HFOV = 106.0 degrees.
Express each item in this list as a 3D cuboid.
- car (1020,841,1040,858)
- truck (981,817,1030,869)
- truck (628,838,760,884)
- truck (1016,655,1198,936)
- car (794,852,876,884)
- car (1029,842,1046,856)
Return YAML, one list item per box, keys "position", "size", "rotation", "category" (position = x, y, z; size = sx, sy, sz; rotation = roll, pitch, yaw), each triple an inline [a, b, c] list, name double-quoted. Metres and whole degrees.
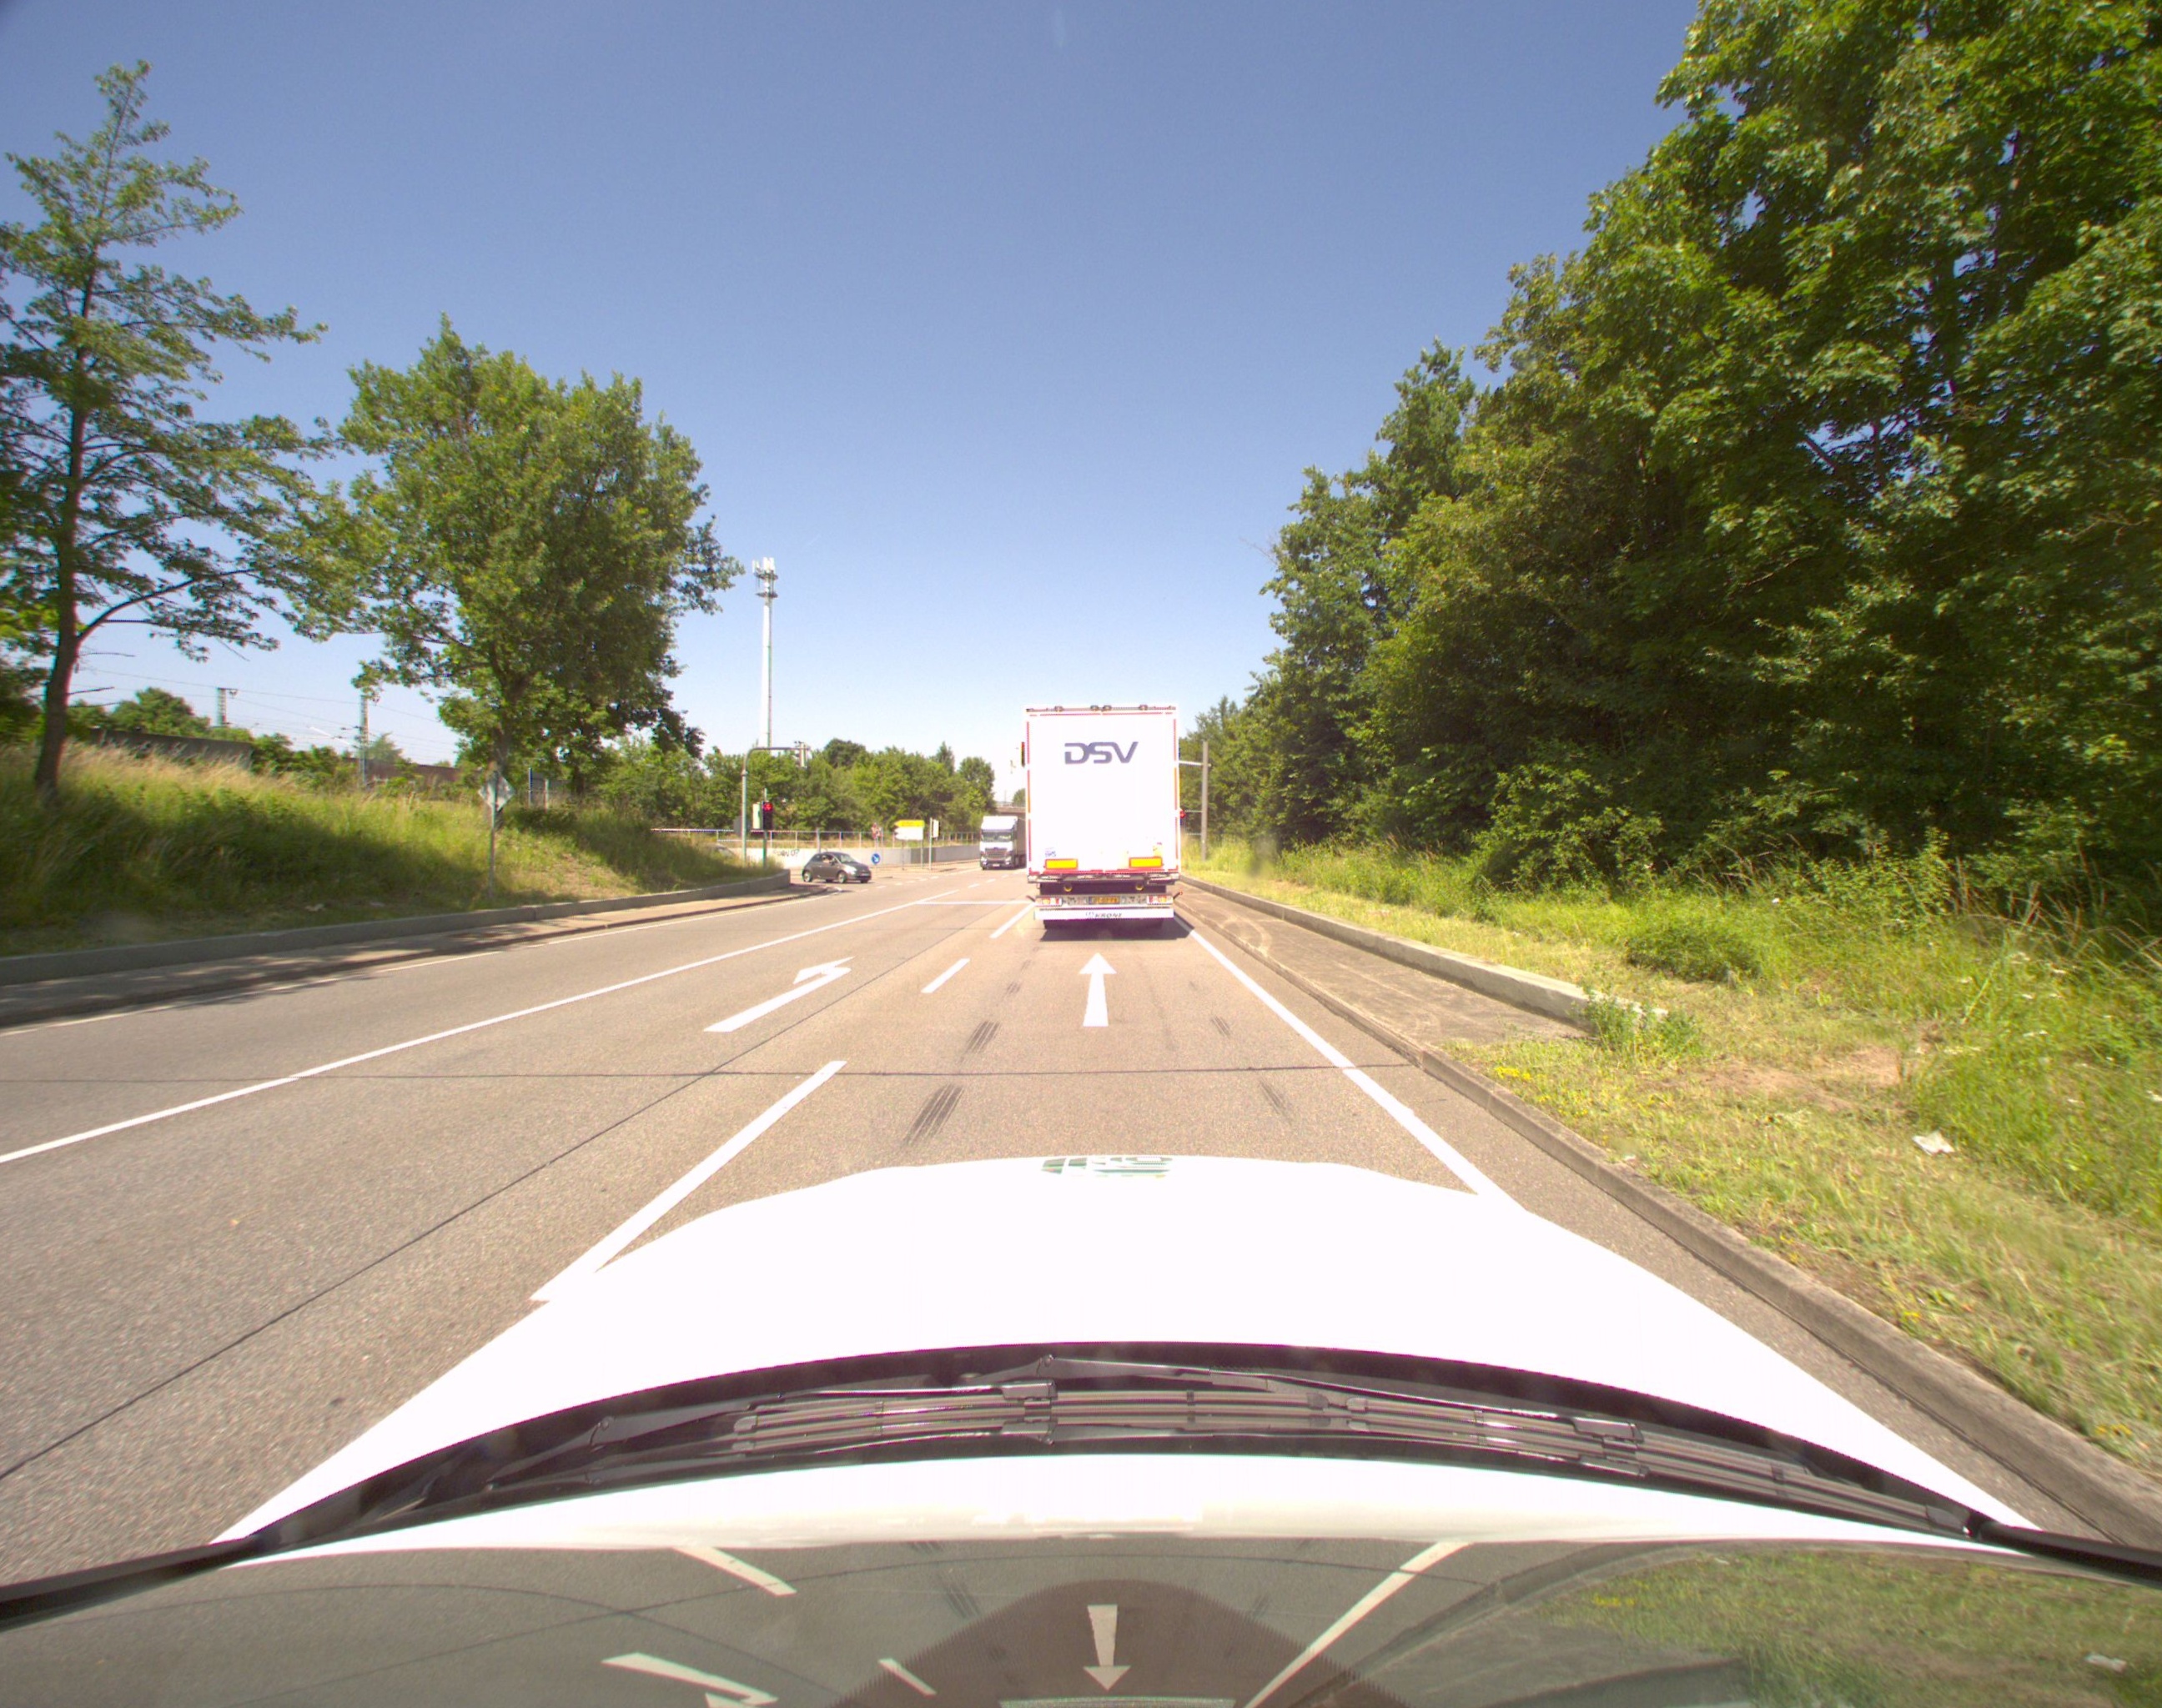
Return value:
- position: [-5.156, -0.457, 83.047]
  size: [1.740, 1.626, 3.704]
  rotation: [-1, 1, 1]
  category: "car"
- position: [-5.898, -0.922, 65.831]
  size: [2.344, 3.749, 12.631]
  rotation: [-1, 1, 2]
  category: "truck"
- position: [-20.041, 0.350, 42.305]
  size: [5.975, 2.274, 1.988]
  rotation: [-1, 0, 6]
  category: "truck"
- position: [0.686, -0.980, 18.323]
  size: [2.938, 4.568, 9.870]
  rotation: [-1, 0, 3]
  category: "truck"
- position: [-11.847, 0.670, 39.236]
  size: [3.557, 1.469, 1.601]
  rotation: [-1, 0, 23]
  category: "car"
- position: [-5.085, -0.649, 96.207]
  size: [1.740, 1.626, 3.704]
  rotation: [-1, 1, 1]
  category: "car"
